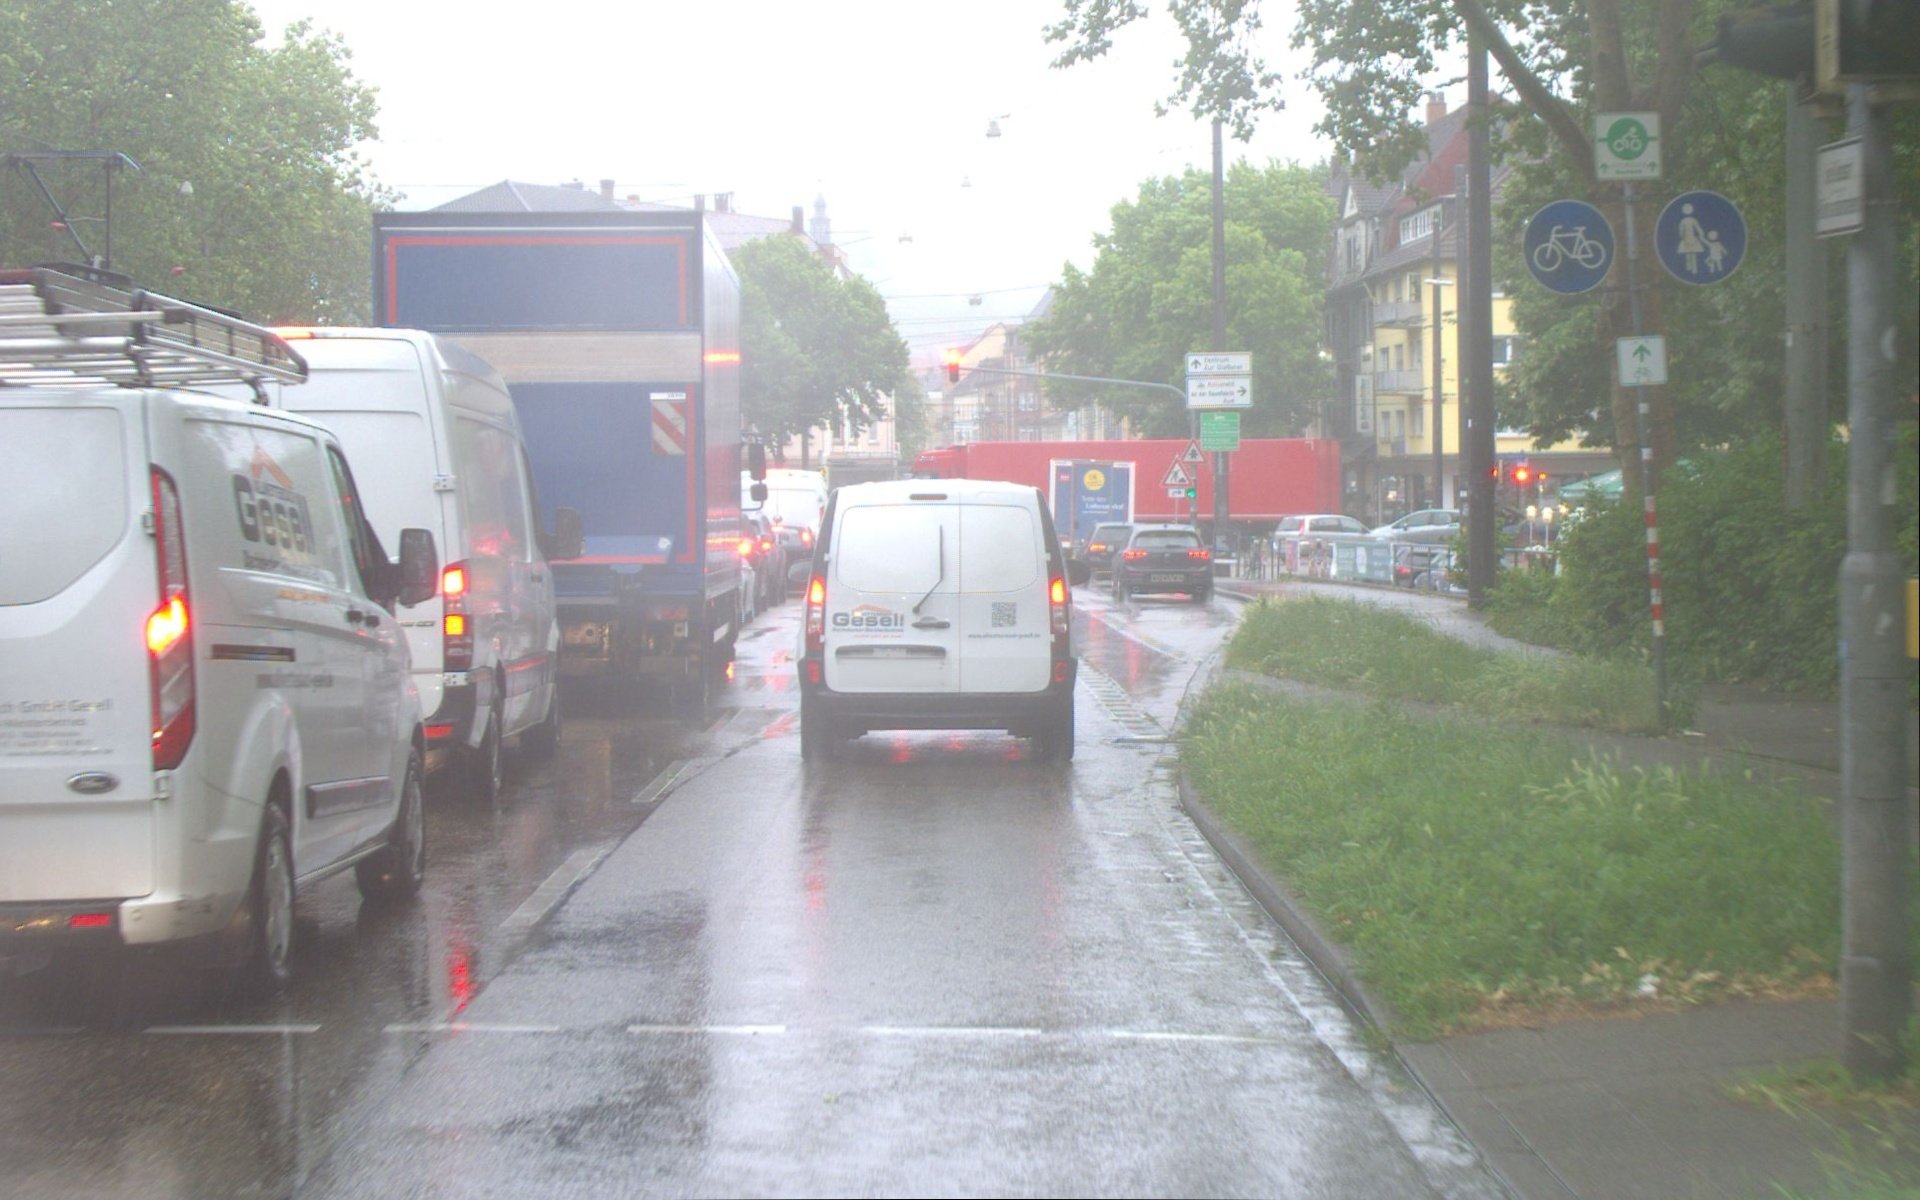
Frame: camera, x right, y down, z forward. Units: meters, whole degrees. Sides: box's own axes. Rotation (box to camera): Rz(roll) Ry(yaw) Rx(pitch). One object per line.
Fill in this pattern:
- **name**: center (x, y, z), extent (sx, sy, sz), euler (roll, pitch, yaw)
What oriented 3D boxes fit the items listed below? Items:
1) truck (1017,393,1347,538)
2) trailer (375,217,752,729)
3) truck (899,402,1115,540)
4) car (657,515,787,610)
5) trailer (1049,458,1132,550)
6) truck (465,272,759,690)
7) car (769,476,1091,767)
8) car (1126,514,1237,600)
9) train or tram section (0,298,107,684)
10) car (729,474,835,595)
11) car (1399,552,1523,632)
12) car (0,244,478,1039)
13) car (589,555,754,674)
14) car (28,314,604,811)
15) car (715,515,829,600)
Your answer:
- **truck**: center (7.986, -4.826, 124.203), extent (11.378, 4.882, 3.285), euler (-1, 2, 26)
- **trailer**: center (-3.255, -1.057, 30.023), extent (2.590, 3.886, 7.637), euler (0, 1, -1)
- **truck**: center (1.731, -4.756, 127.273), extent (7.167, 4.882, 3.285), euler (-1, 2, 26)
- **car**: center (-4.165, -0.679, 60.683), extent (1.993, 1.573, 4.292), euler (1, 1, -1)
- **trailer**: center (3.449, -2.481, 89.936), extent (1.994, 2.309, 4.668), euler (0, 0, 4)
- **truck**: center (-3.366, -1.156, 34.113), extent (2.580, 3.890, 4.001), euler (0, 1, -1)
- **car**: center (-0.196, 0.120, 22.802), extent (1.959, 1.771, 3.570), euler (0, 0, 0)
- **car**: center (4.118, -0.817, 63.958), extent (1.994, 1.536, 4.000), euler (0, 1, 4)
- **train or tram section**: center (-9.608, -0.877, 28.674), extent (2.961, 3.274, 8.361), euler (-2, 2, -1)
- **car**: center (-3.735, -1.374, 72.692), extent (1.993, 2.433, 4.612), euler (1, 1, -1)
- **car**: center (10.483, -0.197, 72.169), extent (1.822, 1.485, 4.353), euler (-2, 2, -1)
- **car**: center (-3.107, 0.100, 12.402), extent (1.993, 2.254, 5.289), euler (0, 0, 0)
- **car**: center (-4.031, 0.174, 48.663), extent (1.993, 1.467, 4.267), euler (1, 2, -1)
- **car**: center (-3.631, -0.210, 20.749), extent (2.329, 2.548, 6.114), euler (0, 0, 0)
- **car**: center (-3.642, -0.835, 67.180), extent (1.993, 1.573, 4.292), euler (1, 1, -1)
